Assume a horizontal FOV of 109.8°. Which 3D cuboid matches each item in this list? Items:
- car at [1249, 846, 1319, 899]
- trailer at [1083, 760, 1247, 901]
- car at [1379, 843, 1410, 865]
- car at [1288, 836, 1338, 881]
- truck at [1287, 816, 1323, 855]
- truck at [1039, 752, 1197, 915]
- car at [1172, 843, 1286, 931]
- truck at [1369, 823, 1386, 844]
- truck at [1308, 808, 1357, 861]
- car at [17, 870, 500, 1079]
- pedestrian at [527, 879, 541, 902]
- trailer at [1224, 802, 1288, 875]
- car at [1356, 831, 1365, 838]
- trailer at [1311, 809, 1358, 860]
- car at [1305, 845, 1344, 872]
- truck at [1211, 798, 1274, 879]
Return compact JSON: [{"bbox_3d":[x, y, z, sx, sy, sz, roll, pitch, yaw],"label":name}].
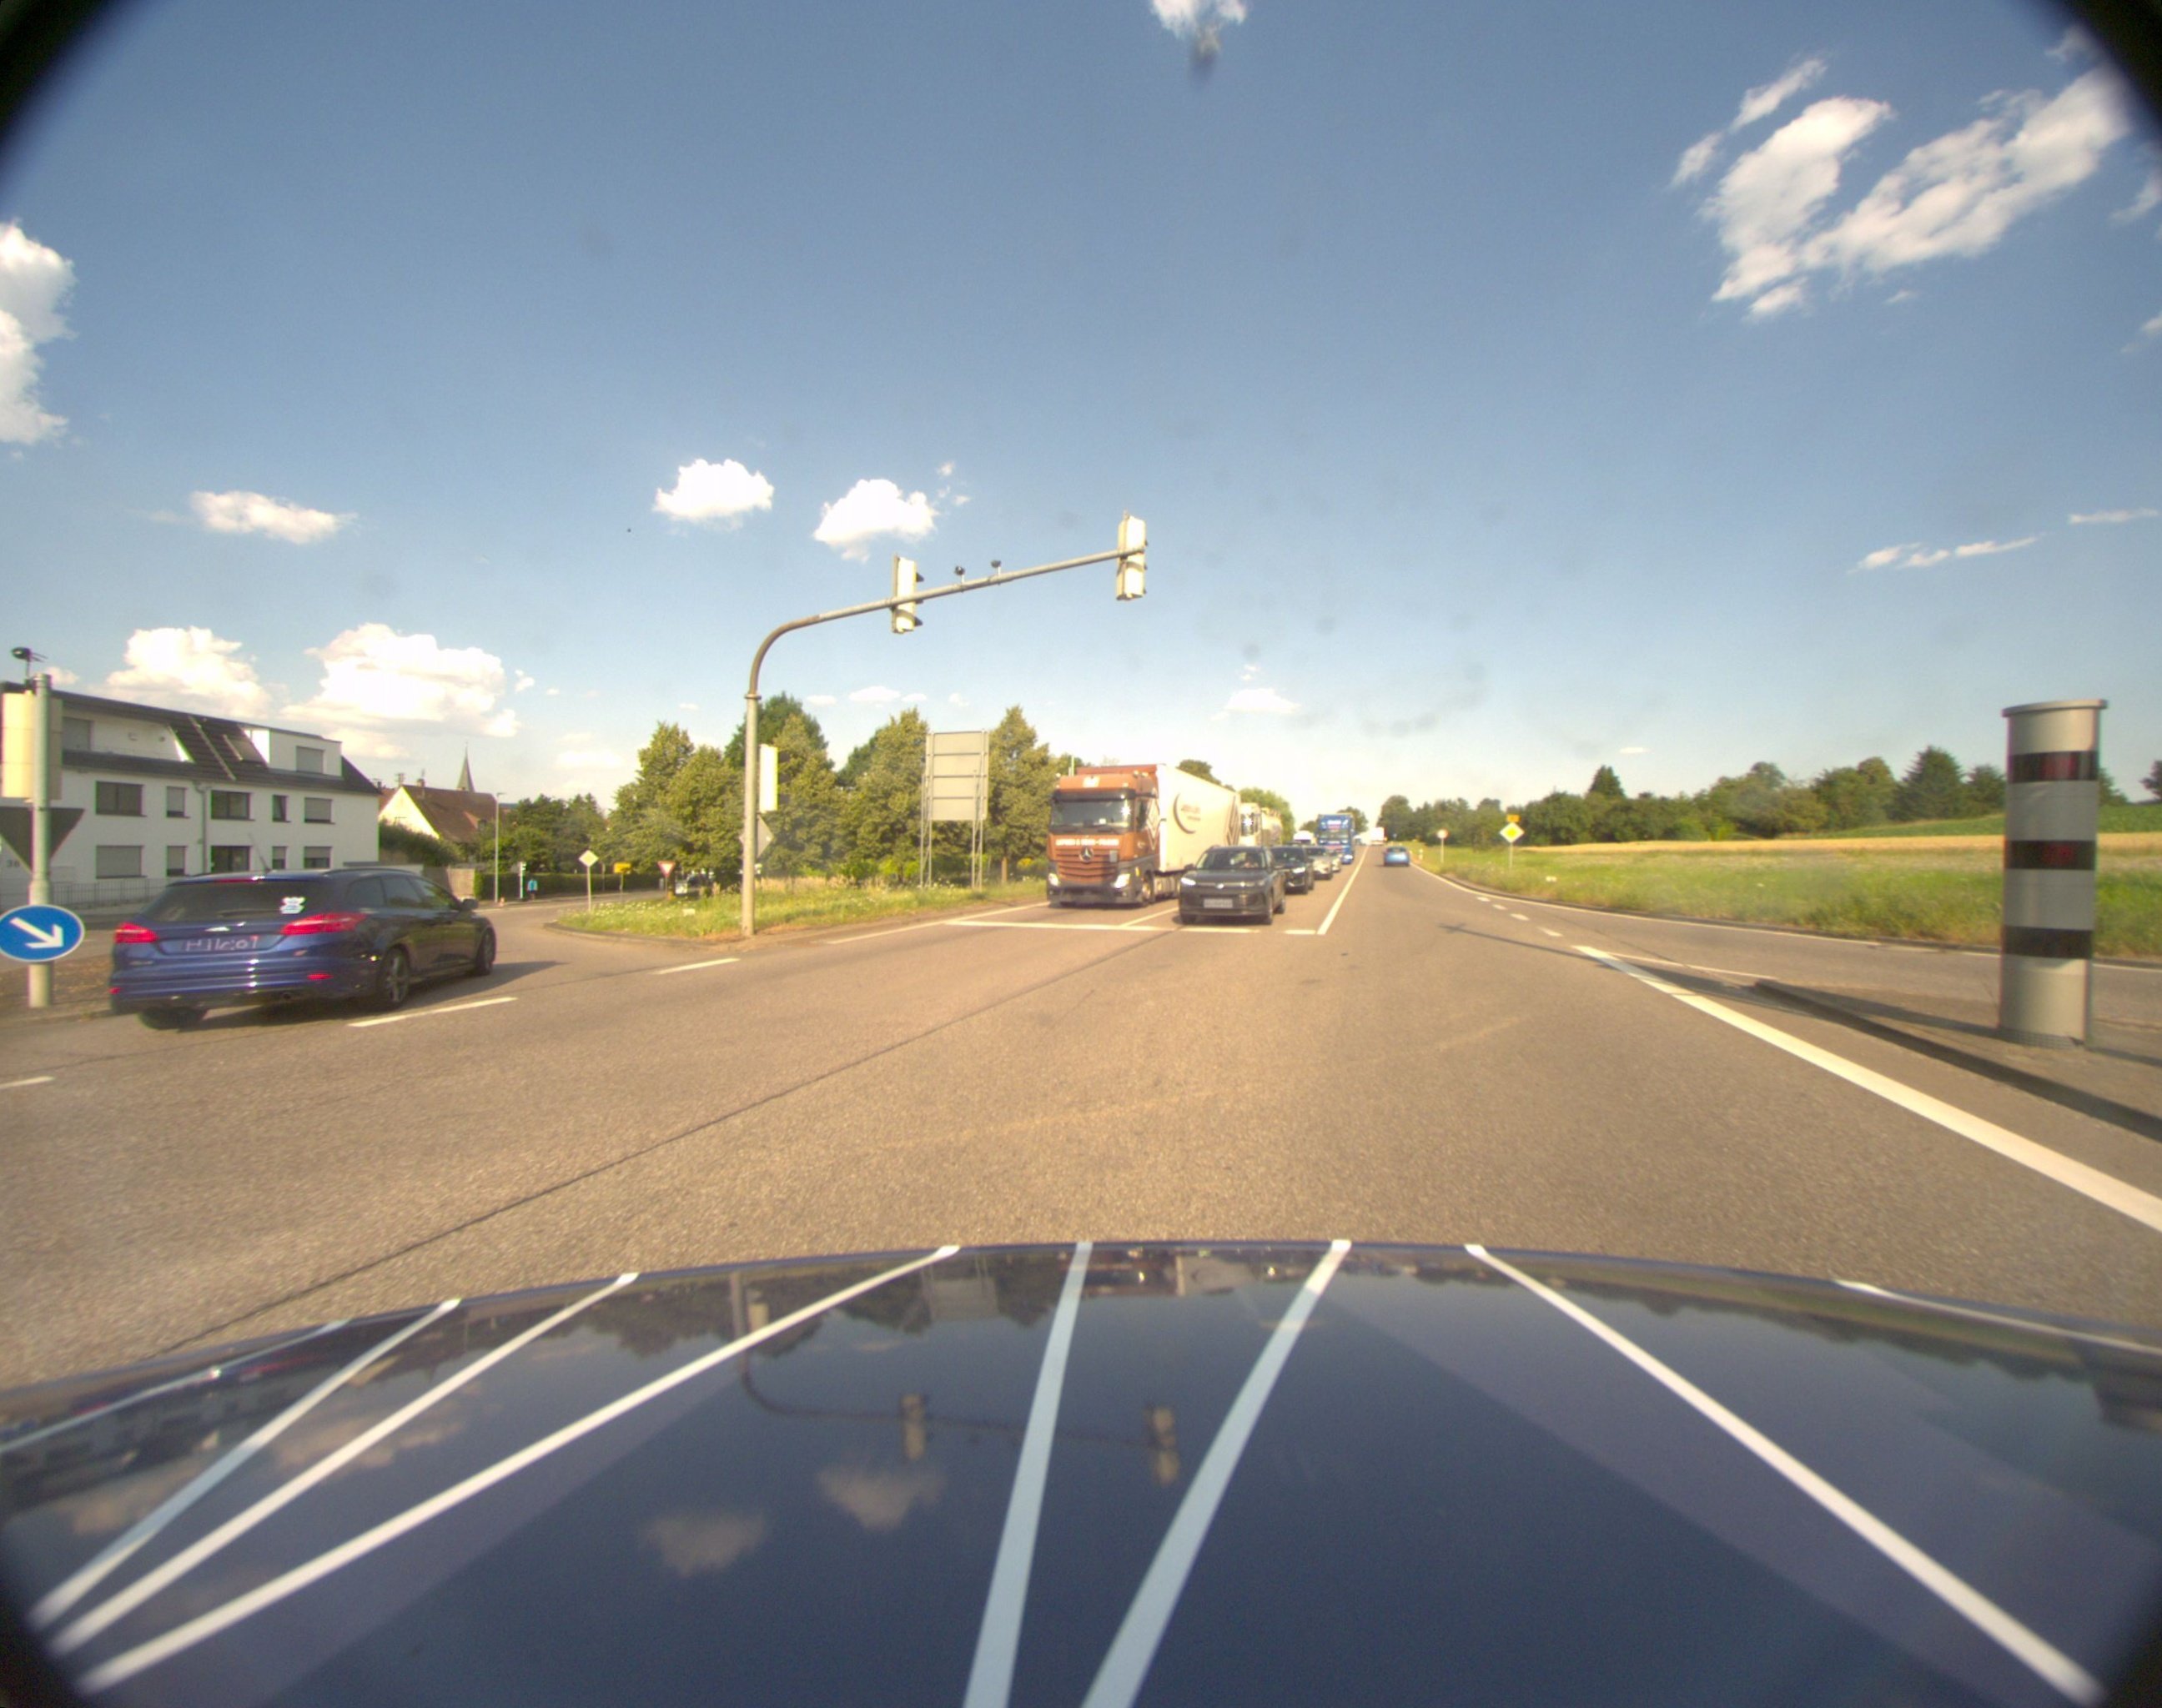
[{"bbox_3d":[7.159,0.581,26.482,1.772,1.604,4.554,-1,1,22],"label":"car"},{"bbox_3d":[3.858,-0.747,28.849,2.534,4.043,14.356,-1,0,21],"label":"trailer"},{"bbox_3d":[22.002,-0.013,53.470,1.761,1.492,4.006,0,0,19],"label":"car"},{"bbox_3d":[11.040,0.167,35.929,1.904,1.936,4.378,-2,1,21],"label":"car"},{"bbox_3d":[23.956,-1.957,80.708,2.525,3.752,12.916,-1,1,21],"label":"truck"},{"bbox_3d":[1.371,-0.561,22.286,2.534,4.020,6.671,-1,1,21],"label":"truck"},{"bbox_3d":[3.407,0.612,16.771,1.785,1.620,4.474,-1,1,20],"label":"car"},{"bbox_3d":[67.100,-4.642,172.185,3.444,4.471,9.499,-1,1,21],"label":"truck"},{"bbox_3d":[20.049,-1.522,60.400,3.369,3.982,5.609,-1,1,21],"label":"truck"},{"bbox_3d":[-8.256,1.000,8.318,1.795,1.489,4.294,-2,1,-21],"label":"car"},{"bbox_3d":[-43.084,2.863,59.870,0.618,1.719,0.639,-2,1,-9],"label":"pedestrian"},{"bbox_3d":[10.356,-0.886,44.189,2.261,3.755,9.537,-2,1,21],"label":"trailer"},{"bbox_3d":[81.572,-5.782,221.796,1.995,2.002,4.006,-1,1,25],"label":"car"},{"bbox_3d":[22.411,-1.675,66.613,3.411,3.982,13.767,-1,1,21],"label":"trailer"},{"bbox_3d":[14.526,0.253,45.258,1.995,1.477,4.005,-1,1,20],"label":"car"},{"bbox_3d":[8.394,-0.775,38.981,2.258,3.783,5.693,-1,1,21],"label":"truck"}]
